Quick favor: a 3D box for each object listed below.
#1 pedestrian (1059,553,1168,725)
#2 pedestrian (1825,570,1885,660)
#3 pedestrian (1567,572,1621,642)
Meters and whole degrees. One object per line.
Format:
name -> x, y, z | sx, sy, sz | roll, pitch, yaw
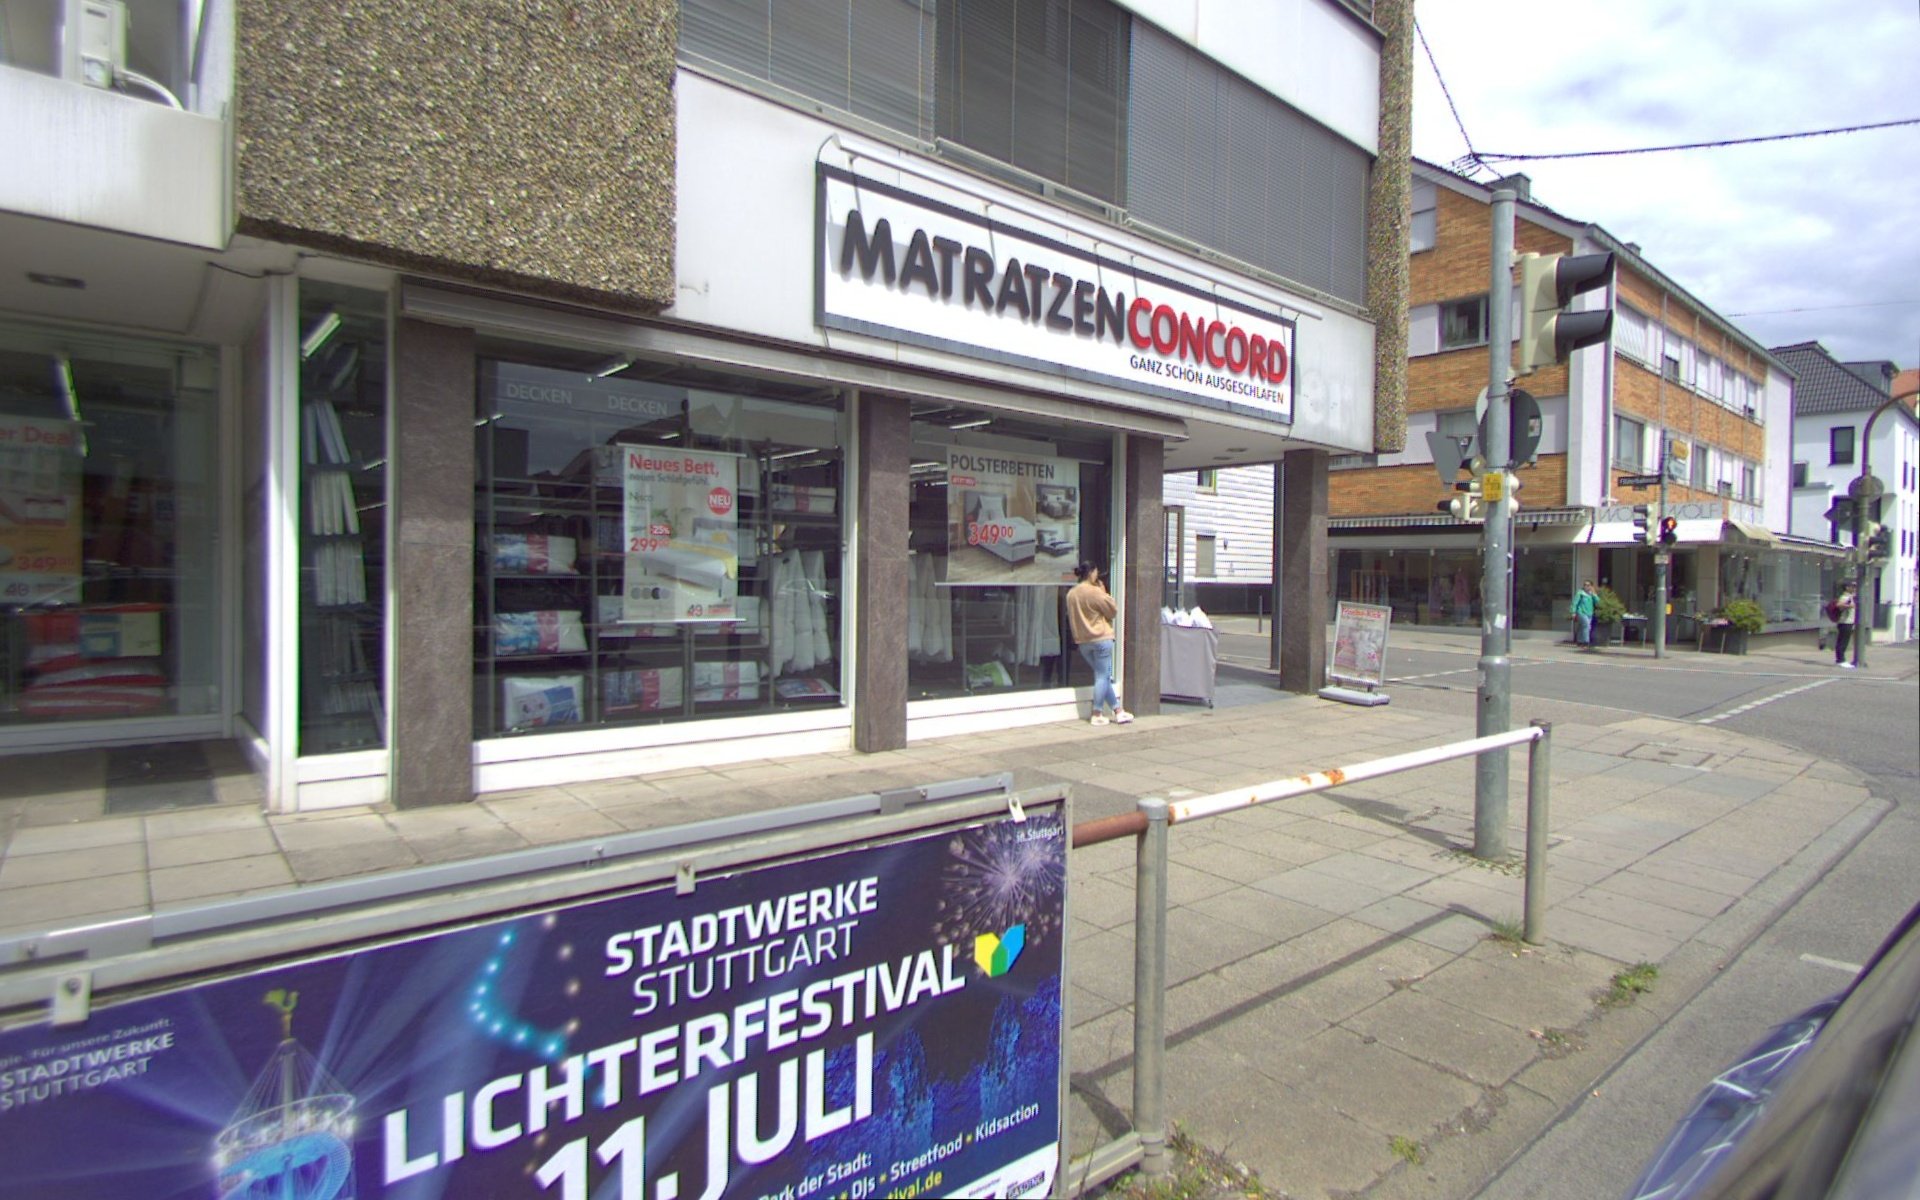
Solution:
pedestrian -> 1.421, 0.333, 9.391 | 0.707, 1.517, 0.681 | 0, 1, -41
pedestrian -> 18.948, 0.315, 21.428 | 0.862, 1.853, 0.583 | 1, 2, -24
pedestrian -> 14.414, 0.149, 23.005 | 0.766, 1.544, 0.818 | 1, 1, -42
